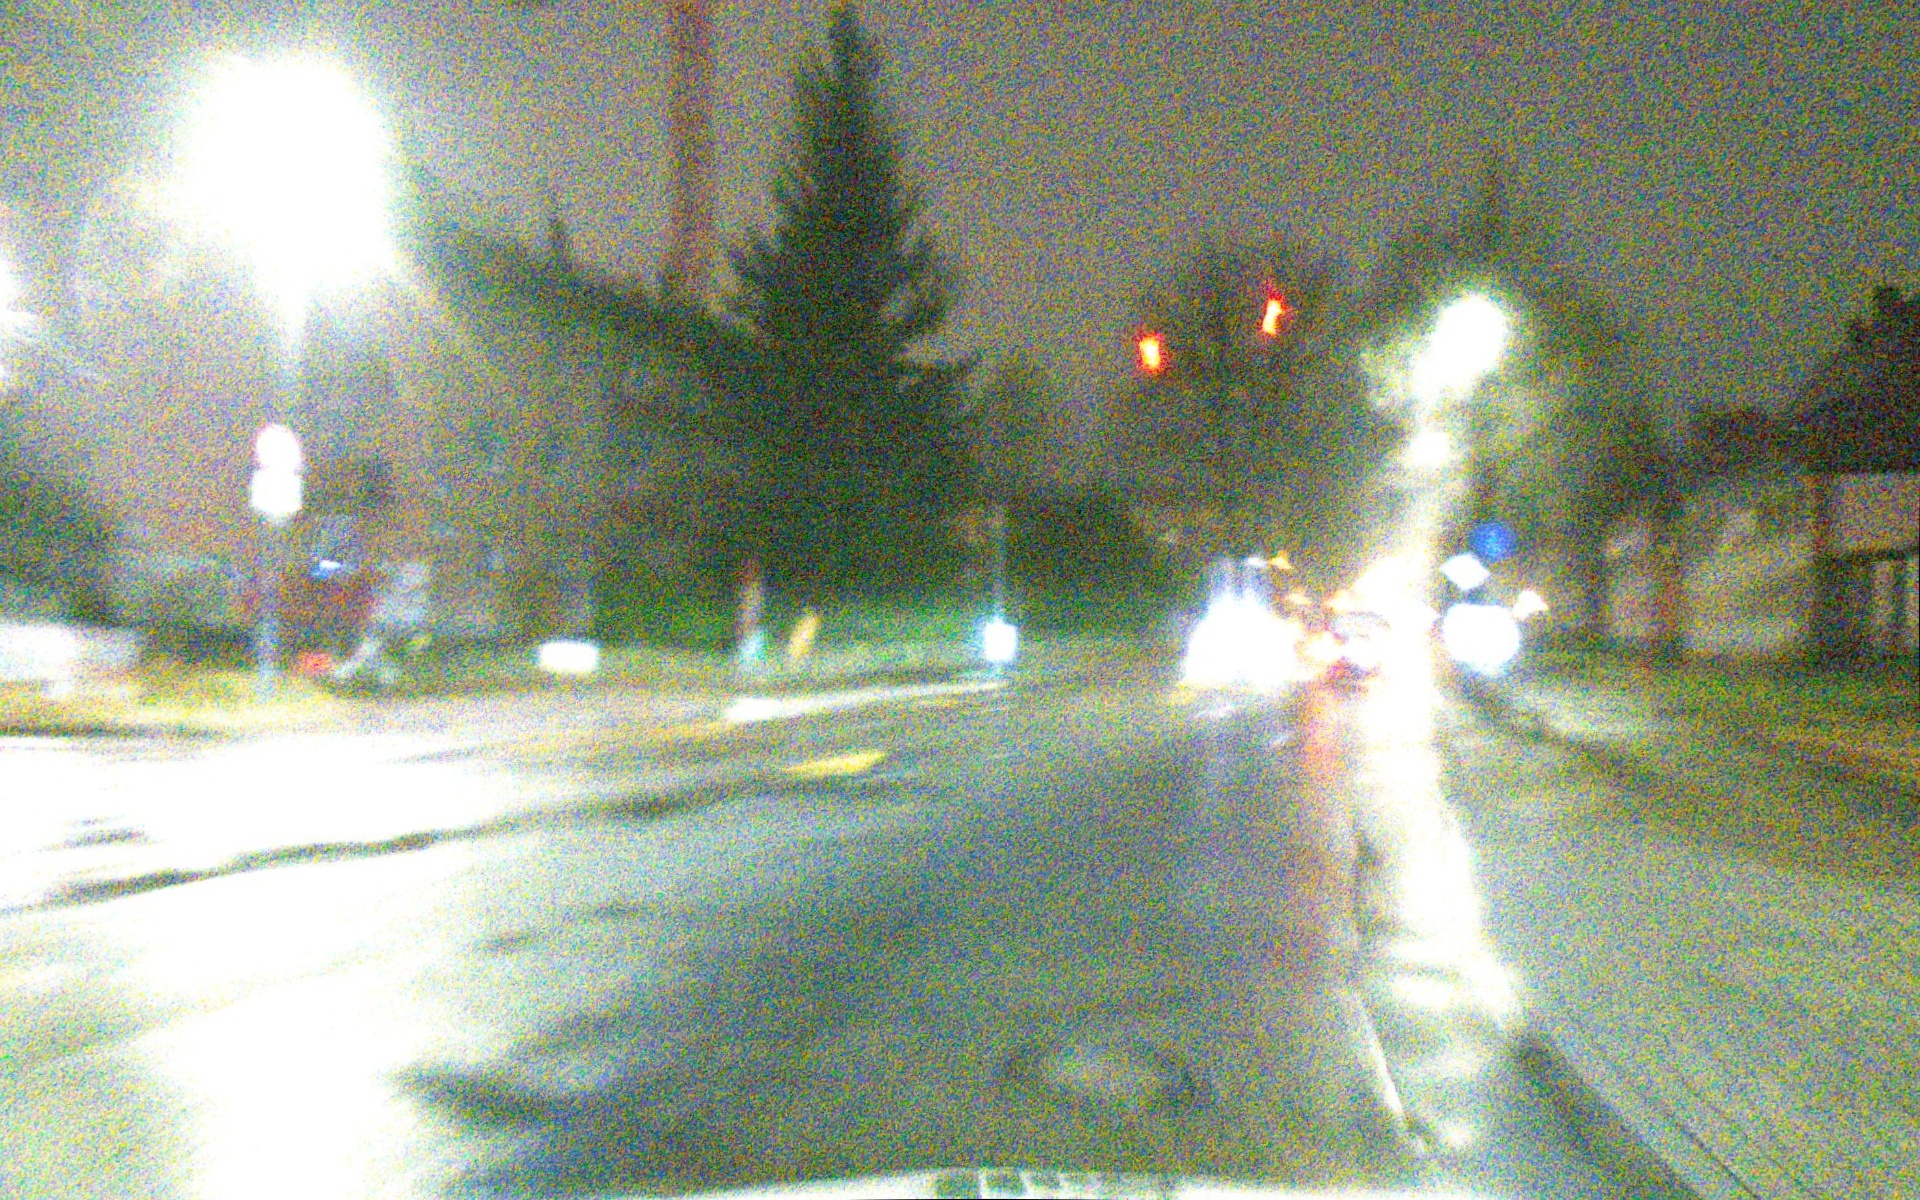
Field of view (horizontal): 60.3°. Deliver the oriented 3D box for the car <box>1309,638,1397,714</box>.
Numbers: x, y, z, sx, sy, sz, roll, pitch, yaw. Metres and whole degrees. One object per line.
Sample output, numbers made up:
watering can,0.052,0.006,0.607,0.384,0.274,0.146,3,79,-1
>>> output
car,10.096,1.908,42.283,1.952,1.713,4.002,4,-1,15
